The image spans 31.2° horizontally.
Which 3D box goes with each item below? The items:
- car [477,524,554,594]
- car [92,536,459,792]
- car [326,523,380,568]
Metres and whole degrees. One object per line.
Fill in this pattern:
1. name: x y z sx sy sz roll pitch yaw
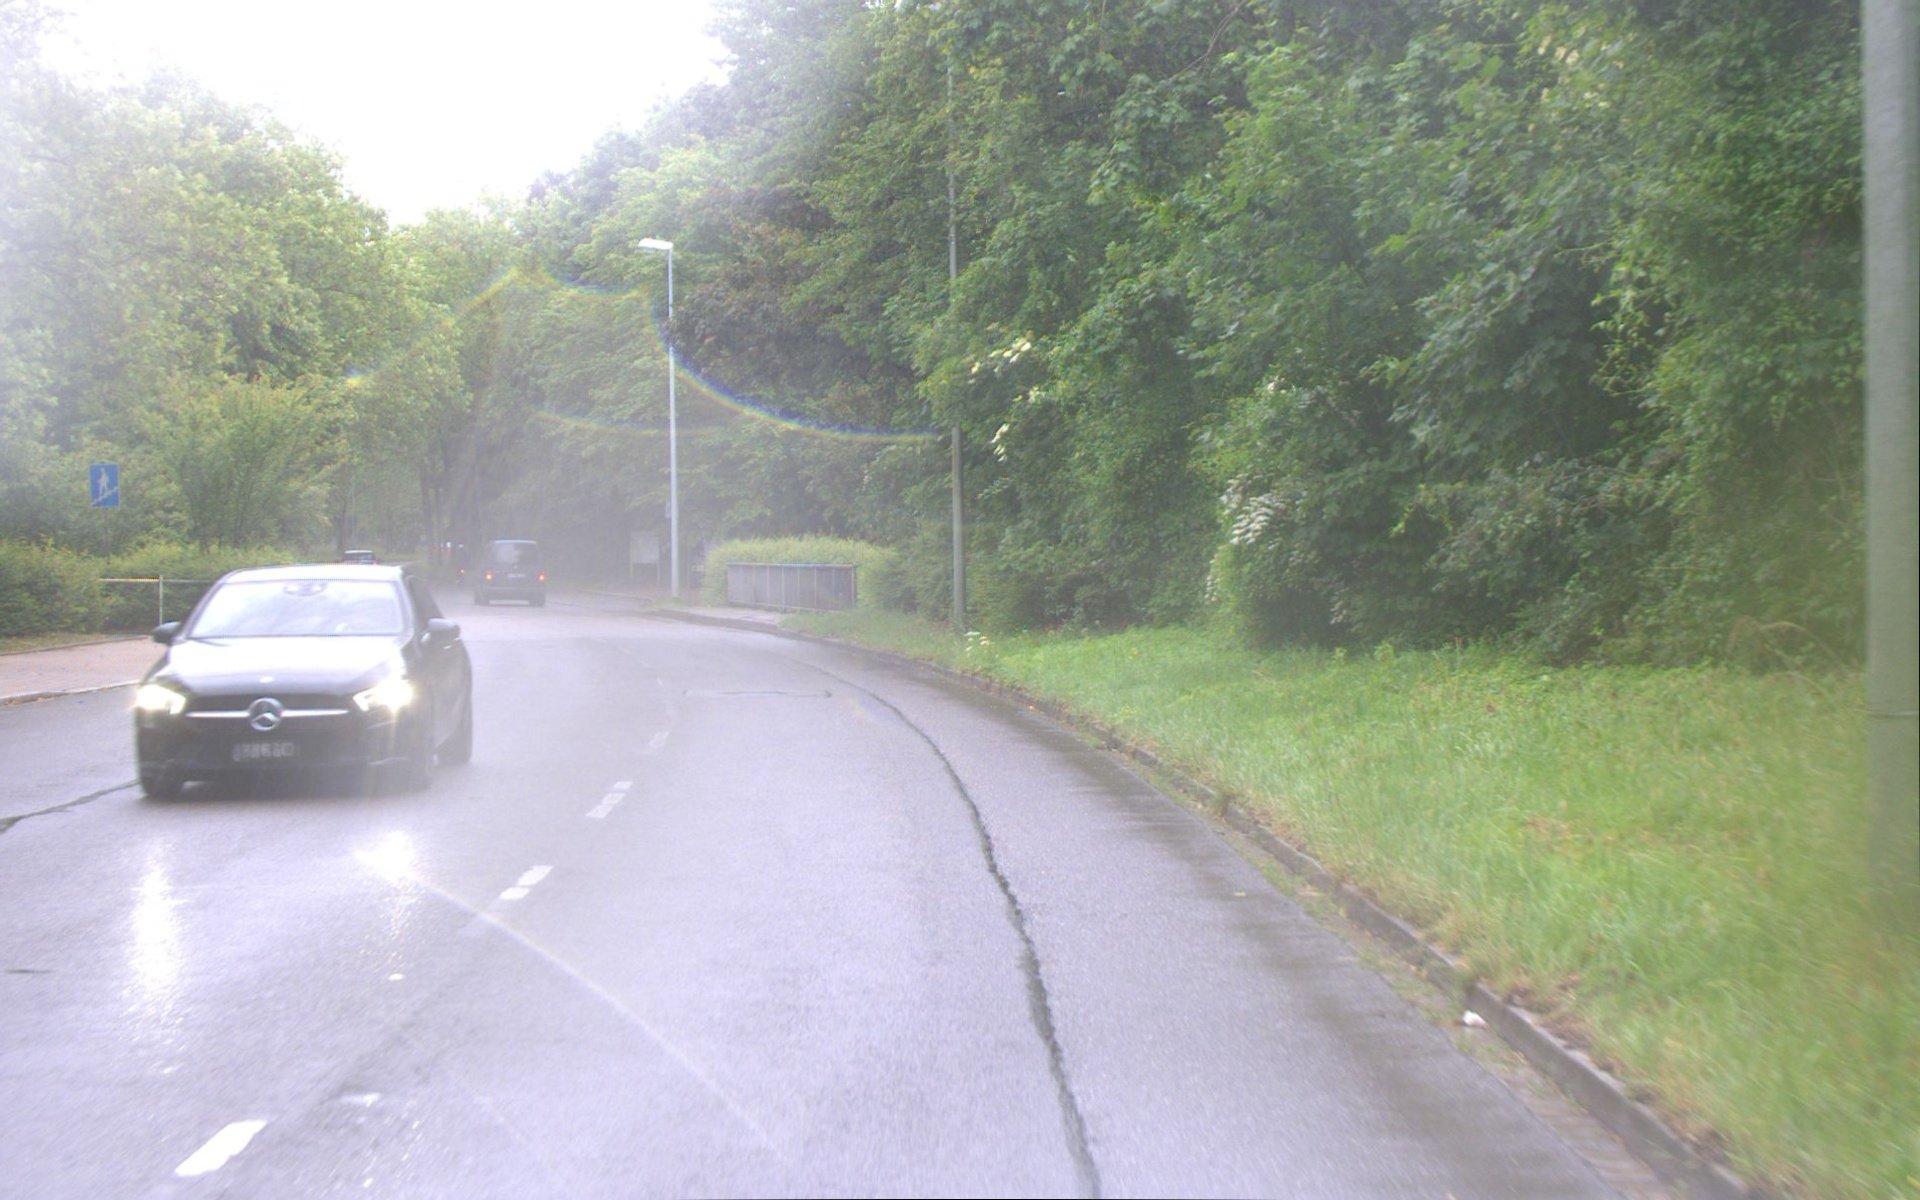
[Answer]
1. car: -12.478 -1.164 96.378 1.985 1.919 4.001 0 1 -9
2. car: -4.317 0.353 22.237 1.826 1.460 4.001 -2 1 -4
3. car: -25.010 -2.235 141.558 1.993 1.809 4.001 1 0 -12
